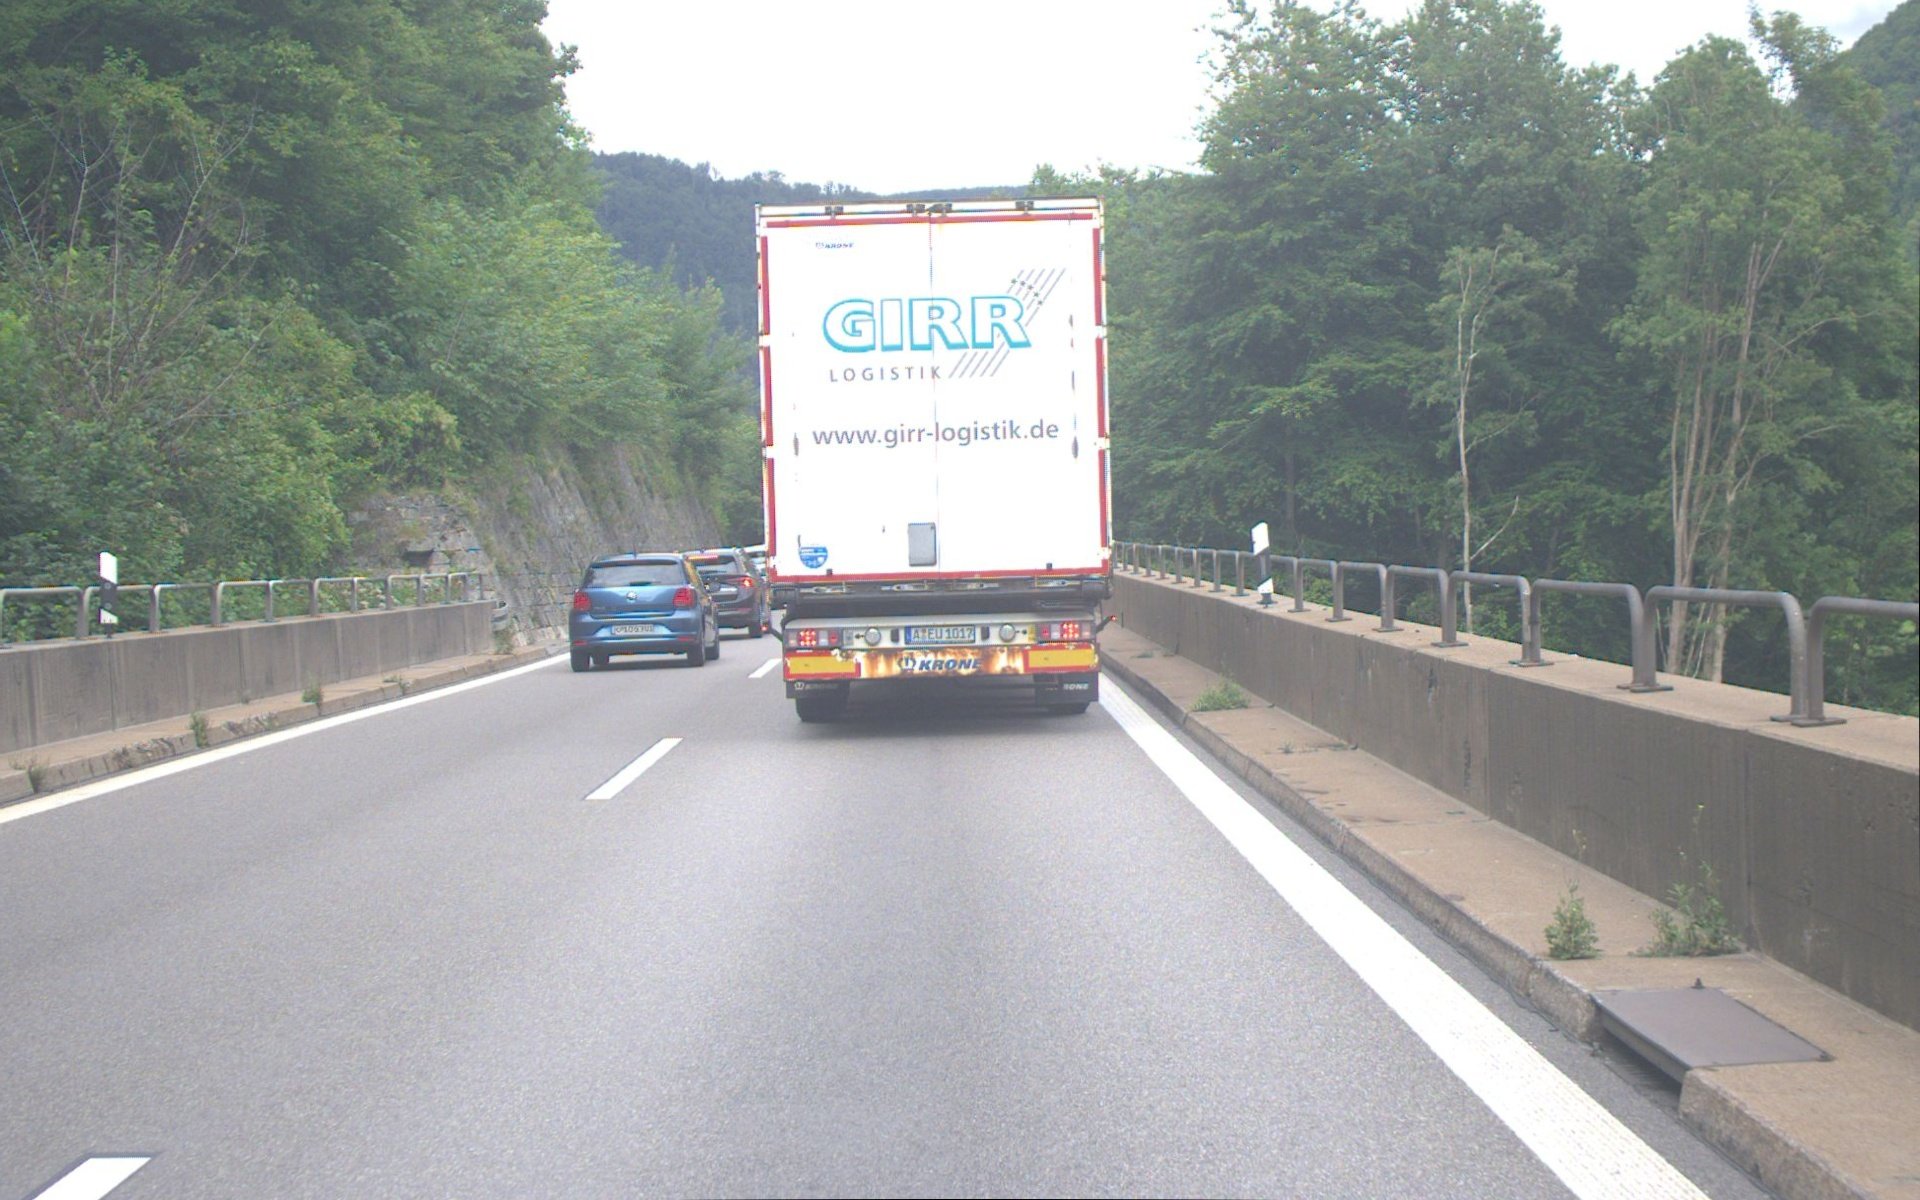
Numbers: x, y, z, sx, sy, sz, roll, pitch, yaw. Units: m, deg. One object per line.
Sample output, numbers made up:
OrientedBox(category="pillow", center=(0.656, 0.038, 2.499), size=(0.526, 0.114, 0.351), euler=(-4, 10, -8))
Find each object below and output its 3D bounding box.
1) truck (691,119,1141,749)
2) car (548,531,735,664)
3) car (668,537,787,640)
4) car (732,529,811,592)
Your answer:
OrientedBox(category="truck", center=(-0.408, -1.389, 32.520), size=(3.084, 4.448, 15.157), euler=(-2, 1, -1))
OrientedBox(category="car", center=(-3.983, -0.067, 43.594), size=(1.993, 1.590, 4.354), euler=(0, 1, 0))
OrientedBox(category="car", center=(-3.720, -0.213, 55.561), size=(1.745, 1.581, 4.000), euler=(-1, 1, -1))
OrientedBox(category="car", center=(-4.551, -0.946, 83.337), size=(1.745, 1.481, 4.000), euler=(0, 0, -1))
